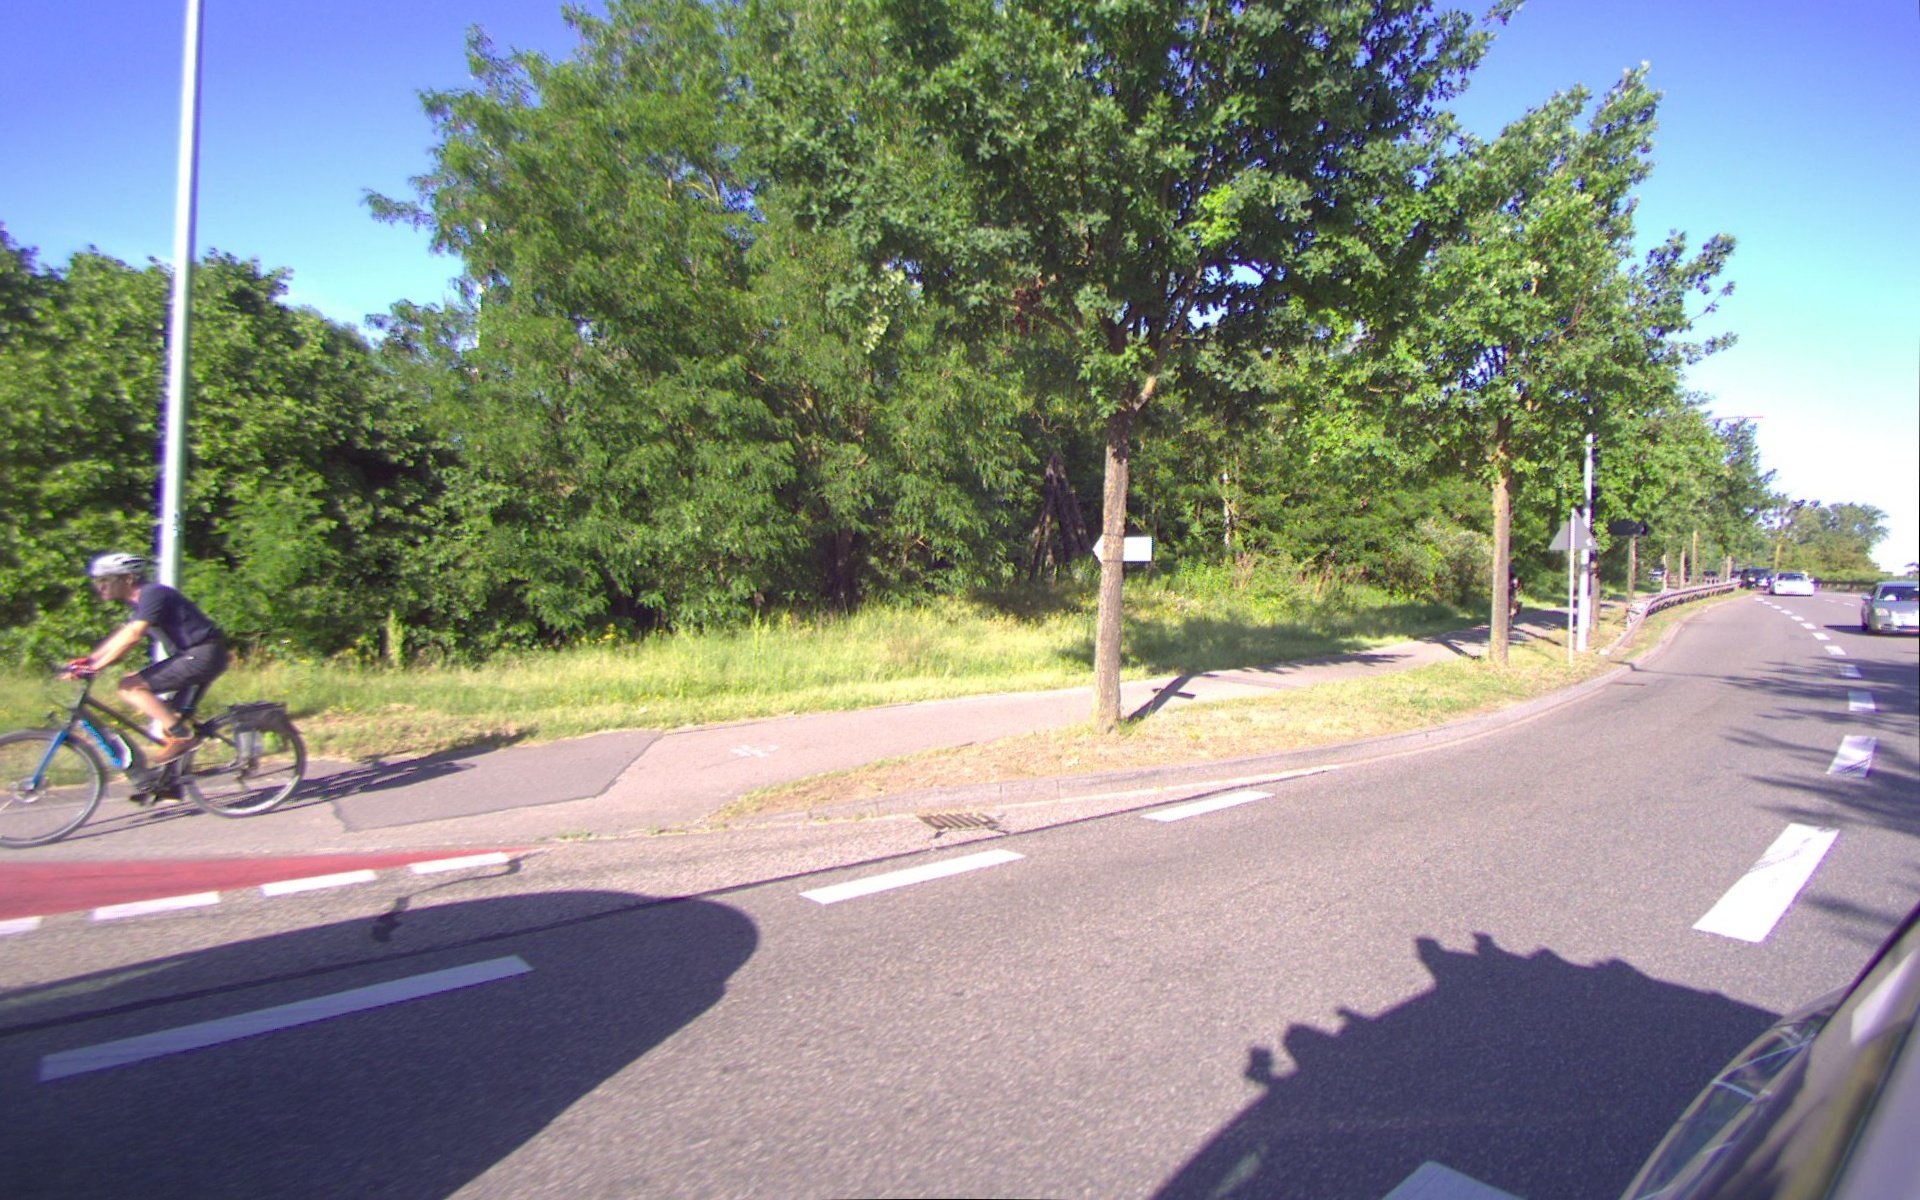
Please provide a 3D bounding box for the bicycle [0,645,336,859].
[{"bbox_3d":[-5.305,0.924,6.549,2.081,1.108,0.696,-1,4,-41],"label":"bicycle"}]

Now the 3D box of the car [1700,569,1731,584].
[{"bbox_3d":[82.707,-2.583,110.847,1.748,1.507,4.244,0,2,24],"label":"car"}]

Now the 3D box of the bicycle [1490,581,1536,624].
[{"bbox_3d":[15.018,0.039,27.448,0.700,1.087,1.894,4,4,39],"label":"bicycle"}]

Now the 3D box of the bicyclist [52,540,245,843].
[{"bbox_3d":[-5.249,0.527,6.573,0.931,1.798,0.677,0,3,-41],"label":"bicyclist"}]

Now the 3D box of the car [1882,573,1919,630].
[{"bbox_3d":[26.661,0.013,27.953,1.679,1.459,3.799,3,3,43],"label":"car"}]

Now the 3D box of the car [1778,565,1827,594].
[{"bbox_3d":[51.811,-1.270,62.278,2.143,1.586,4.138,6,5,40],"label":"car"}]

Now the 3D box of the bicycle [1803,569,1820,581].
[{"bbox_3d":[80.692,-2.397,95.871,0.656,1.108,2.090,3,3,26],"label":"bicycle"}]

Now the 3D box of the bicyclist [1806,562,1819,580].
[{"bbox_3d":[80.705,-2.768,95.849,0.647,1.643,0.867,3,3,26],"label":"bicyclist"}]

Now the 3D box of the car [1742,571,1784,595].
[{"bbox_3d":[60.048,-1.279,75.745,1.985,1.738,4.222,1,1,32],"label":"car"}]

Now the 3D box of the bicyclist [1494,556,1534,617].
[{"bbox_3d":[15.008,-0.367,27.414,0.707,1.597,0.990,4,3,40],"label":"bicyclist"}]
